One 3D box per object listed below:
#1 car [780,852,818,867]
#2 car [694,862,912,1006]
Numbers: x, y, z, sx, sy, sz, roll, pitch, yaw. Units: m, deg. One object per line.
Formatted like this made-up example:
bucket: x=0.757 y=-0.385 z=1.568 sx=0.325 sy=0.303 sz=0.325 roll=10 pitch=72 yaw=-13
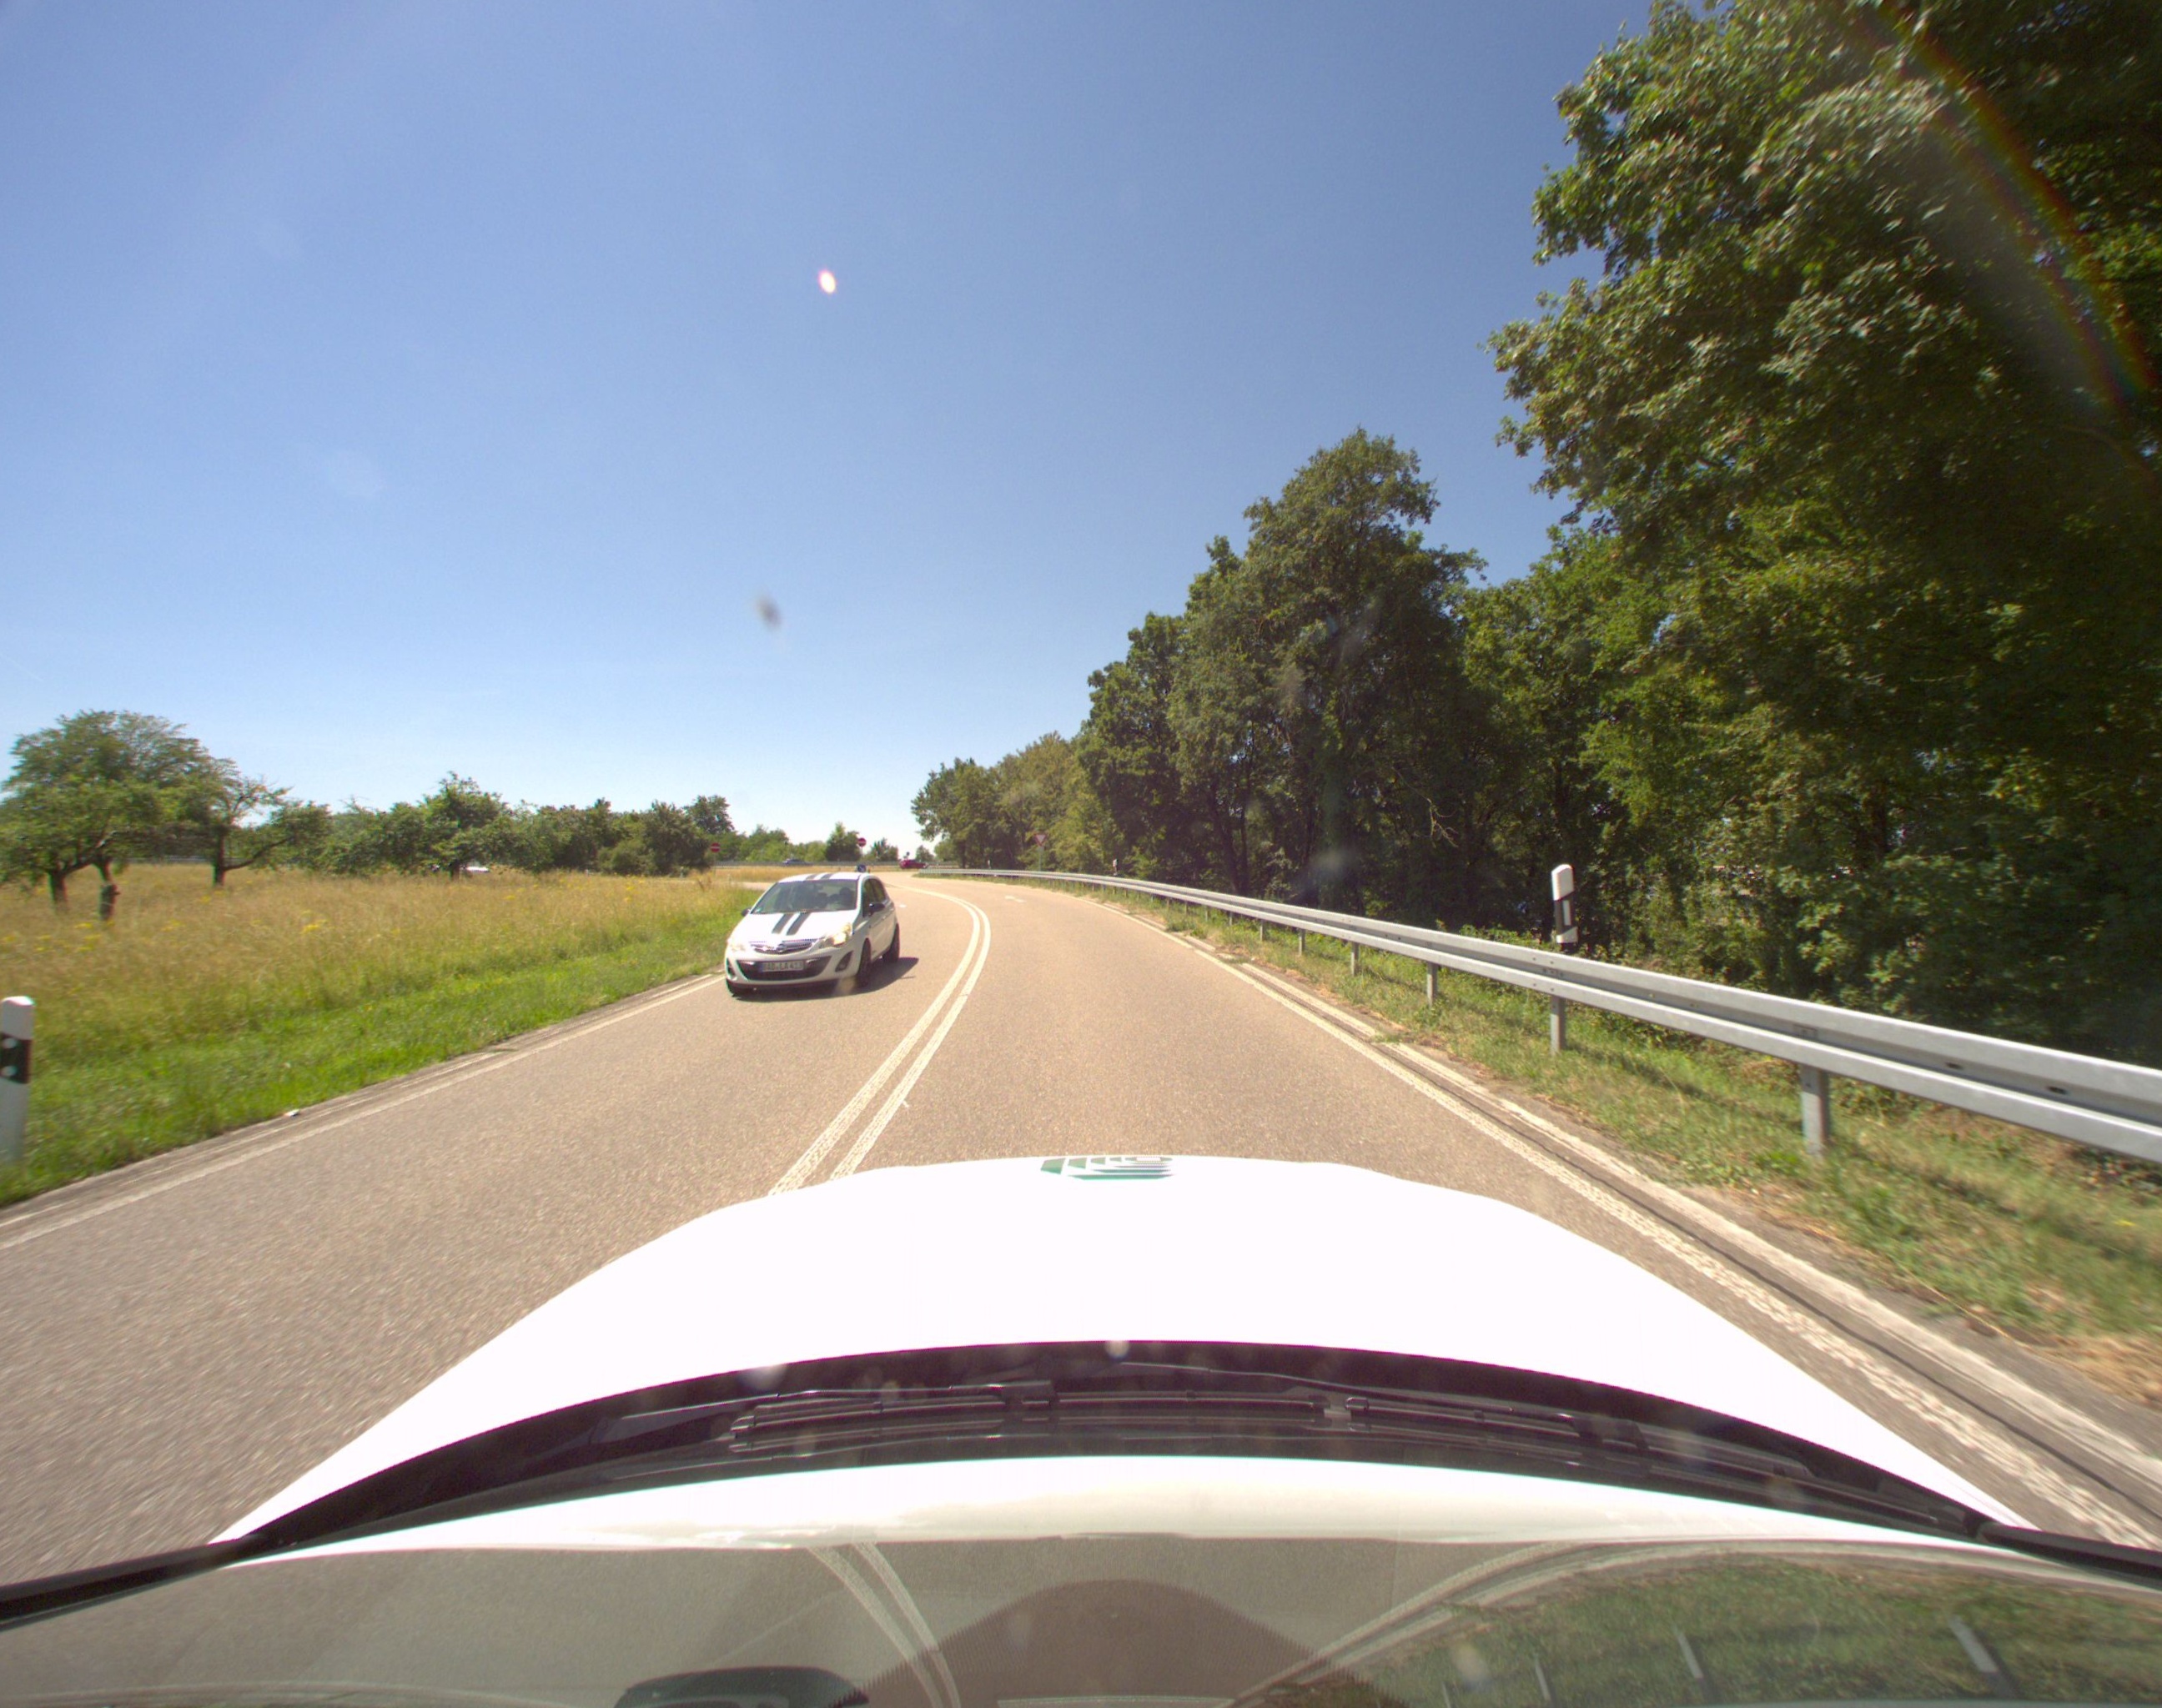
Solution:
car: x=-39.519 y=0.747 z=114.306 sx=4.553 sy=1.928 sz=1.975 roll=3 pitch=-3 yaw=-44
car: x=-3.628 y=0.936 z=11.477 sx=1.819 sy=1.506 sz=4.166 roll=-3 pitch=0 yaw=-4
